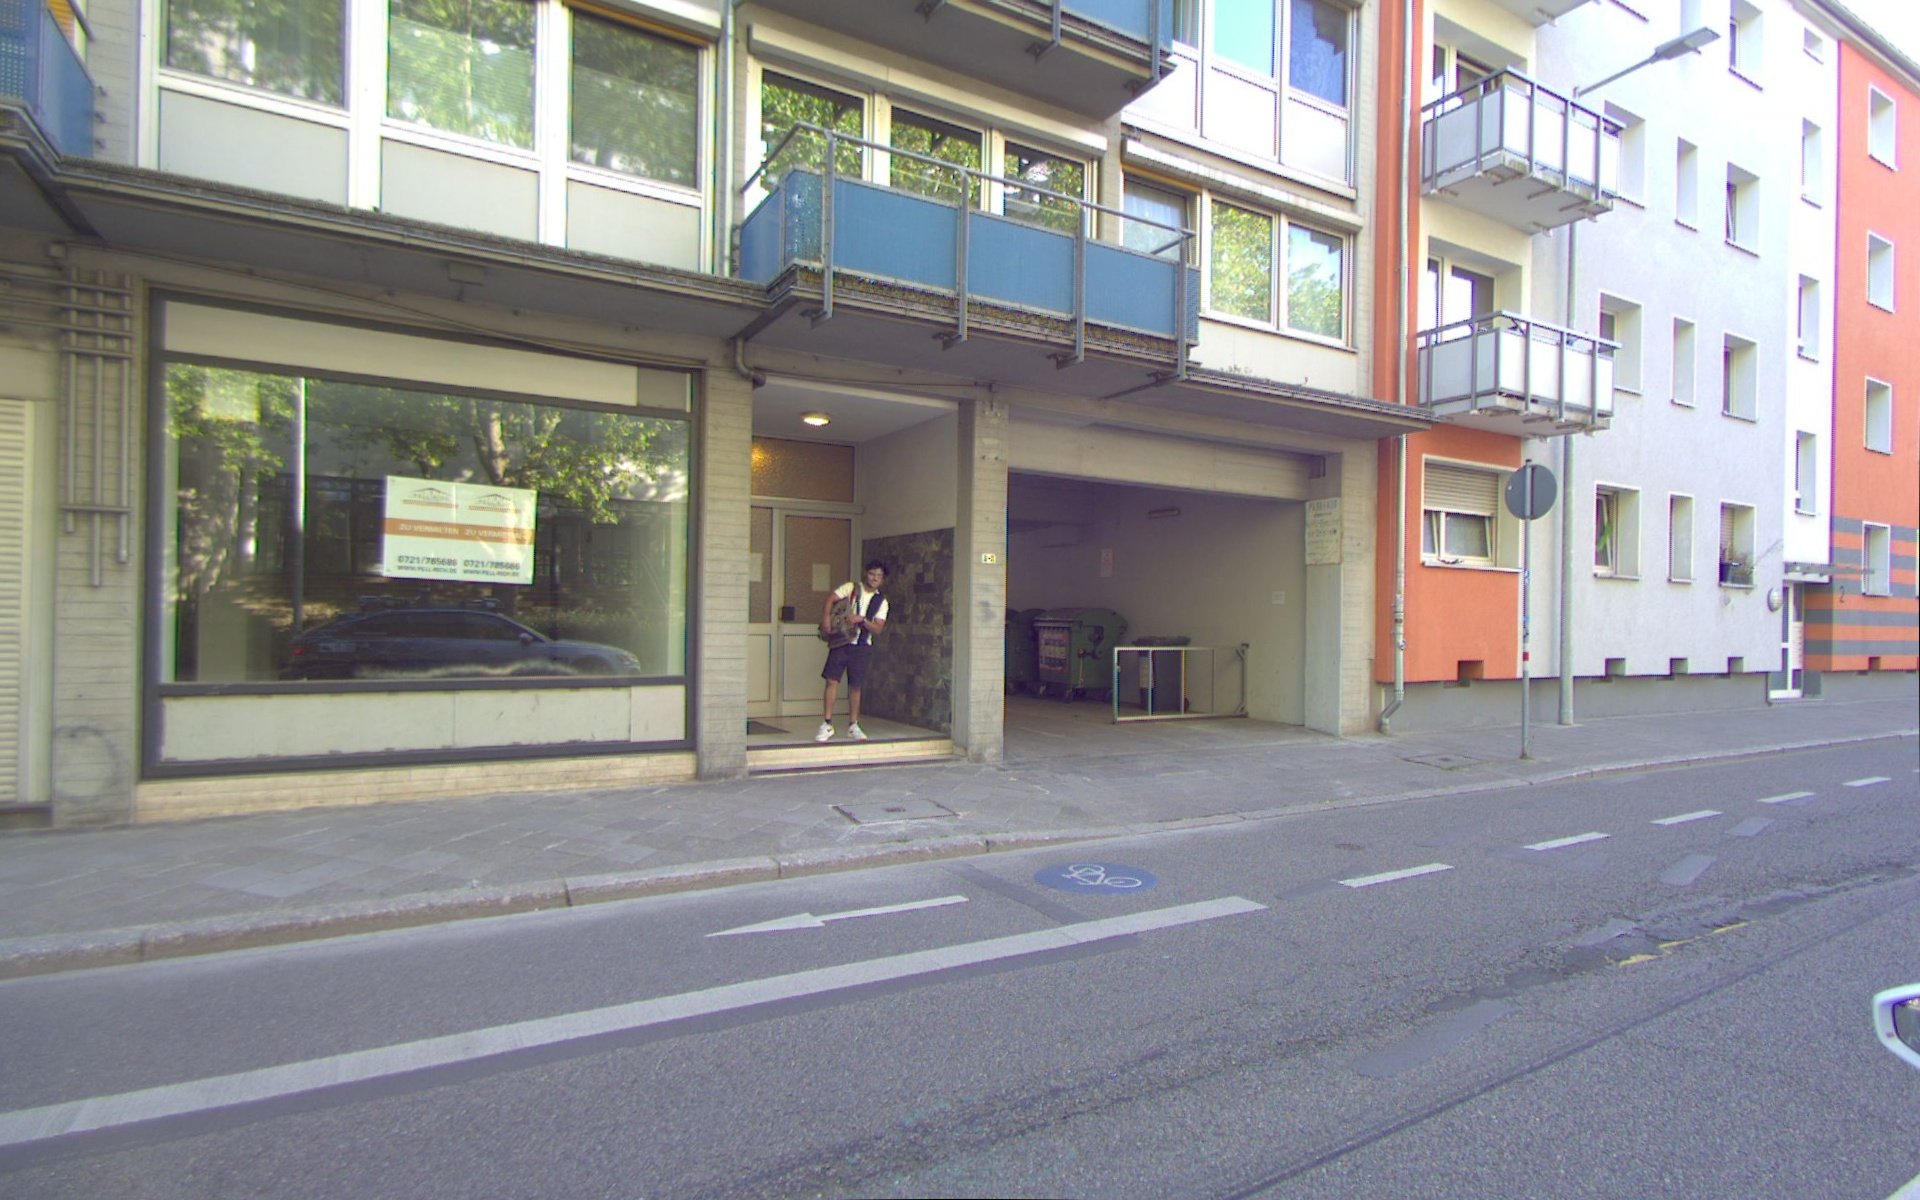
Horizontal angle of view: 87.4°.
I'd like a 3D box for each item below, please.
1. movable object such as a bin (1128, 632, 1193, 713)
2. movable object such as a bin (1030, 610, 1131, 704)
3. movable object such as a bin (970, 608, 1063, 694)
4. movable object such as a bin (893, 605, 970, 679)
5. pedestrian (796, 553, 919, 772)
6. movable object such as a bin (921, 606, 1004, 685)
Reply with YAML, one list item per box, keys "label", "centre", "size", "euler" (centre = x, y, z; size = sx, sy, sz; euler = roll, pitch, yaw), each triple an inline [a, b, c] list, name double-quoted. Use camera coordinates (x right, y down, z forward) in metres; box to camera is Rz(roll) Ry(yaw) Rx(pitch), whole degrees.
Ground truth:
- label: "movable object such as a bin"
  centre: [2.888, 1.028, 14.460]
  size: [0.650, 1.115, 0.626]
  euler: [2, 0, -27]
- label: "movable object such as a bin"
  centre: [1.887, 0.869, 15.811]
  size: [1.066, 1.384, 1.192]
  euler: [2, 0, -27]
- label: "movable object such as a bin"
  centre: [0.946, 0.847, 17.125]
  size: [1.066, 1.384, 1.255]
  euler: [2, 0, -27]
- label: "movable object such as a bin"
  centre: [-0.574, 0.814, 19.864]
  size: [1.066, 1.384, 1.255]
  euler: [2, 0, -27]
- label: "pedestrian"
  centre: [-0.950, 0.554, 9.254]
  size: [0.882, 1.902, 0.703]
  euler: [2, 0, -28]
- label: "movable object such as a bin"
  centre: [0.035, 0.827, 18.694]
  size: [1.066, 1.384, 1.255]
  euler: [2, 0, -27]
